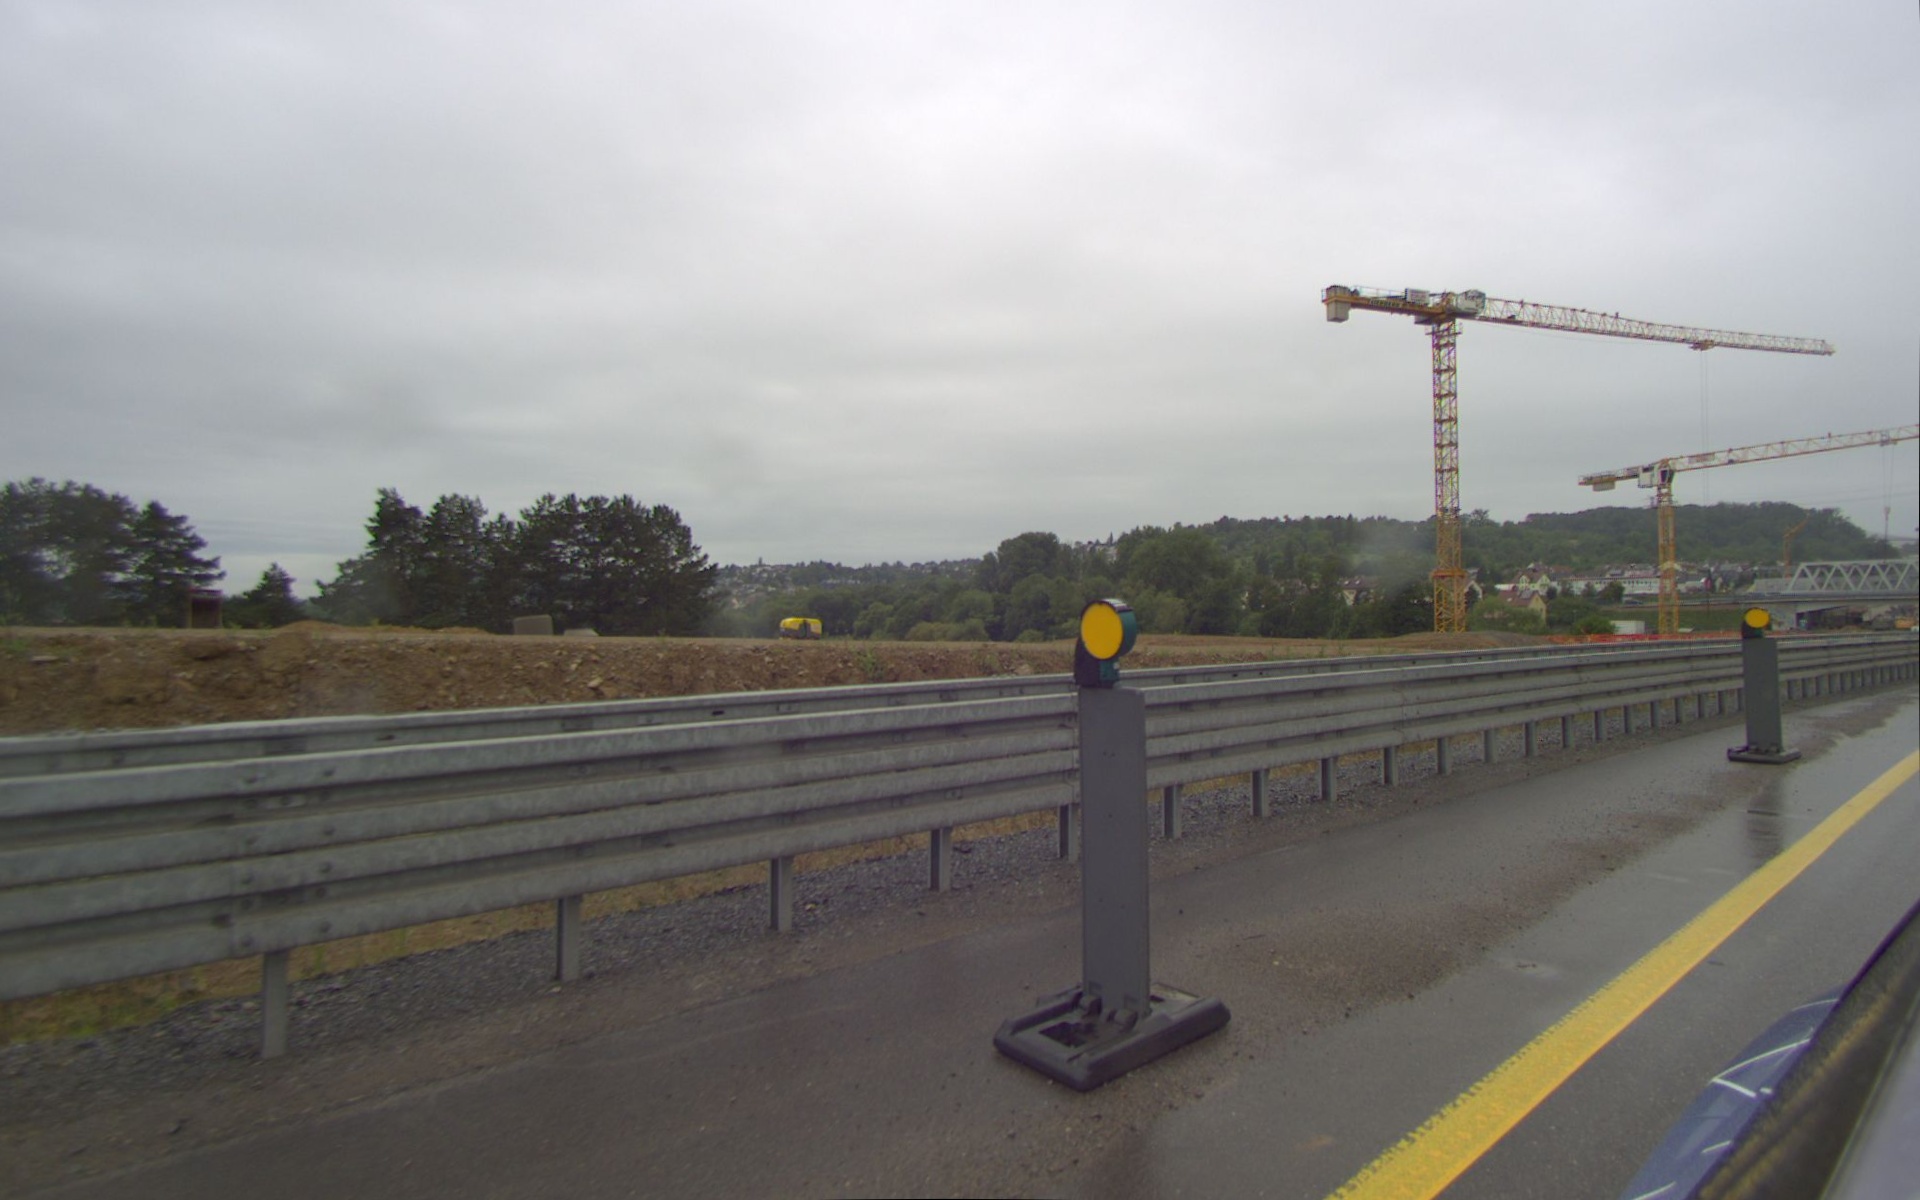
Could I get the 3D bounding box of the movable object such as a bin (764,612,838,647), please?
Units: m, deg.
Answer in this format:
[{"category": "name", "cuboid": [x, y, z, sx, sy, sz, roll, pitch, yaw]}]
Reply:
[{"category": "movable object such as a bin", "cuboid": [-6.404, 1.179, 40.902, 1.388, 1.317, 2.662, 0, 0, 45]}]
